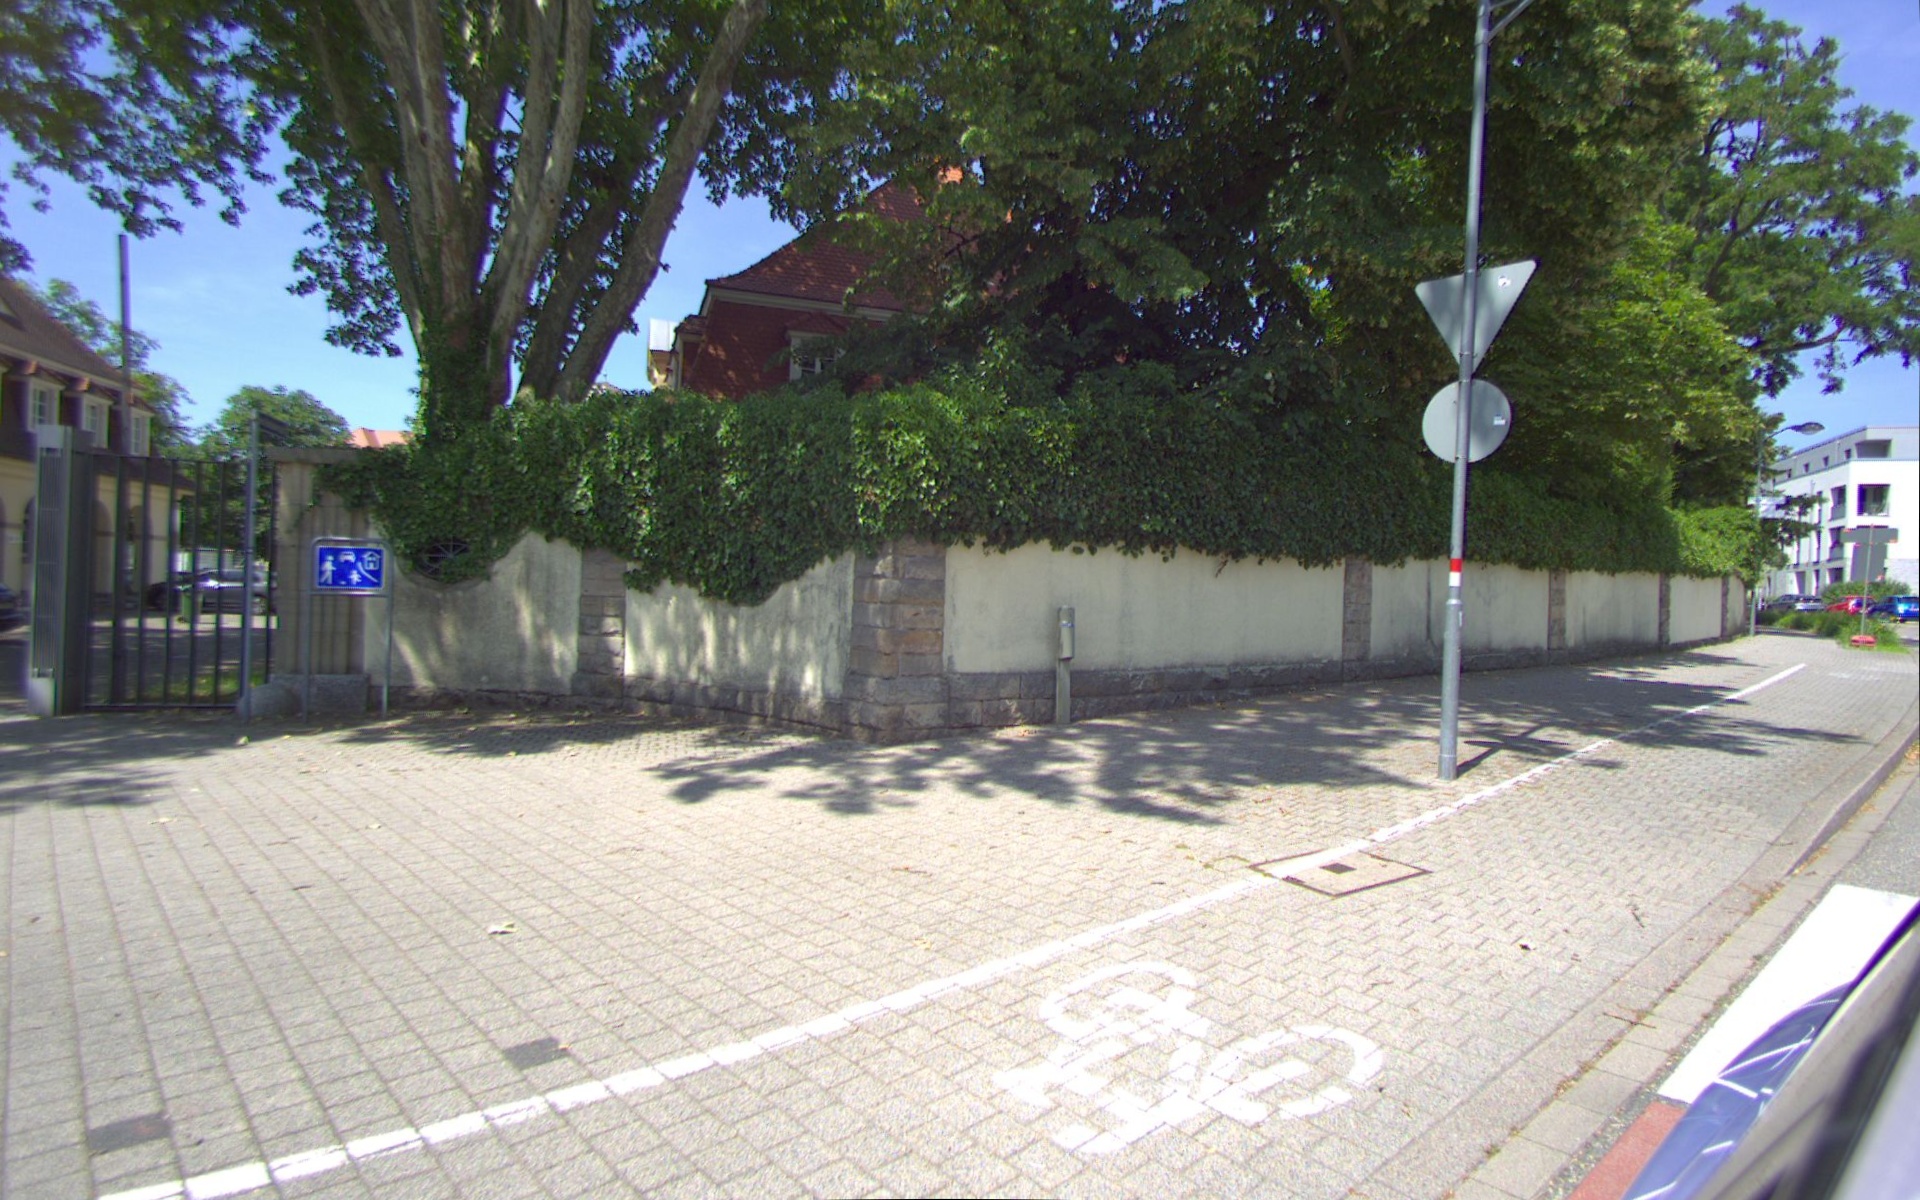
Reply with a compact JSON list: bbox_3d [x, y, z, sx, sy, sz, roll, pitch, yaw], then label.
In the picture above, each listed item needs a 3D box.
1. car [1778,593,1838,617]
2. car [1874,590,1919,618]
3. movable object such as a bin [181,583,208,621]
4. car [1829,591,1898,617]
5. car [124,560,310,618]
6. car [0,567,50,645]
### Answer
[{"bbox_3d":[54.750,0.294,65.403,1.685,1.431,3.699,1,1,19],"label":"car"},{"bbox_3d":[50.845,0.187,54.032,1.685,1.431,3.699,1,1,19],"label":"car"},{"bbox_3d":[-21.081,0.046,27.868,0.526,1.021,0.530,1,1,44],"label":"movable object such as a bin"},{"bbox_3d":[52.852,0.206,59.299,1.685,1.431,3.699,1,1,19],"label":"car"},{"bbox_3d":[-24.250,-0.356,33.235,4.407,1.420,2.004,5,0,-14],"label":"car"},{"bbox_3d":[-20.177,-0.060,18.757,4.407,1.420,2.004,5,0,-14],"label":"car"}]
